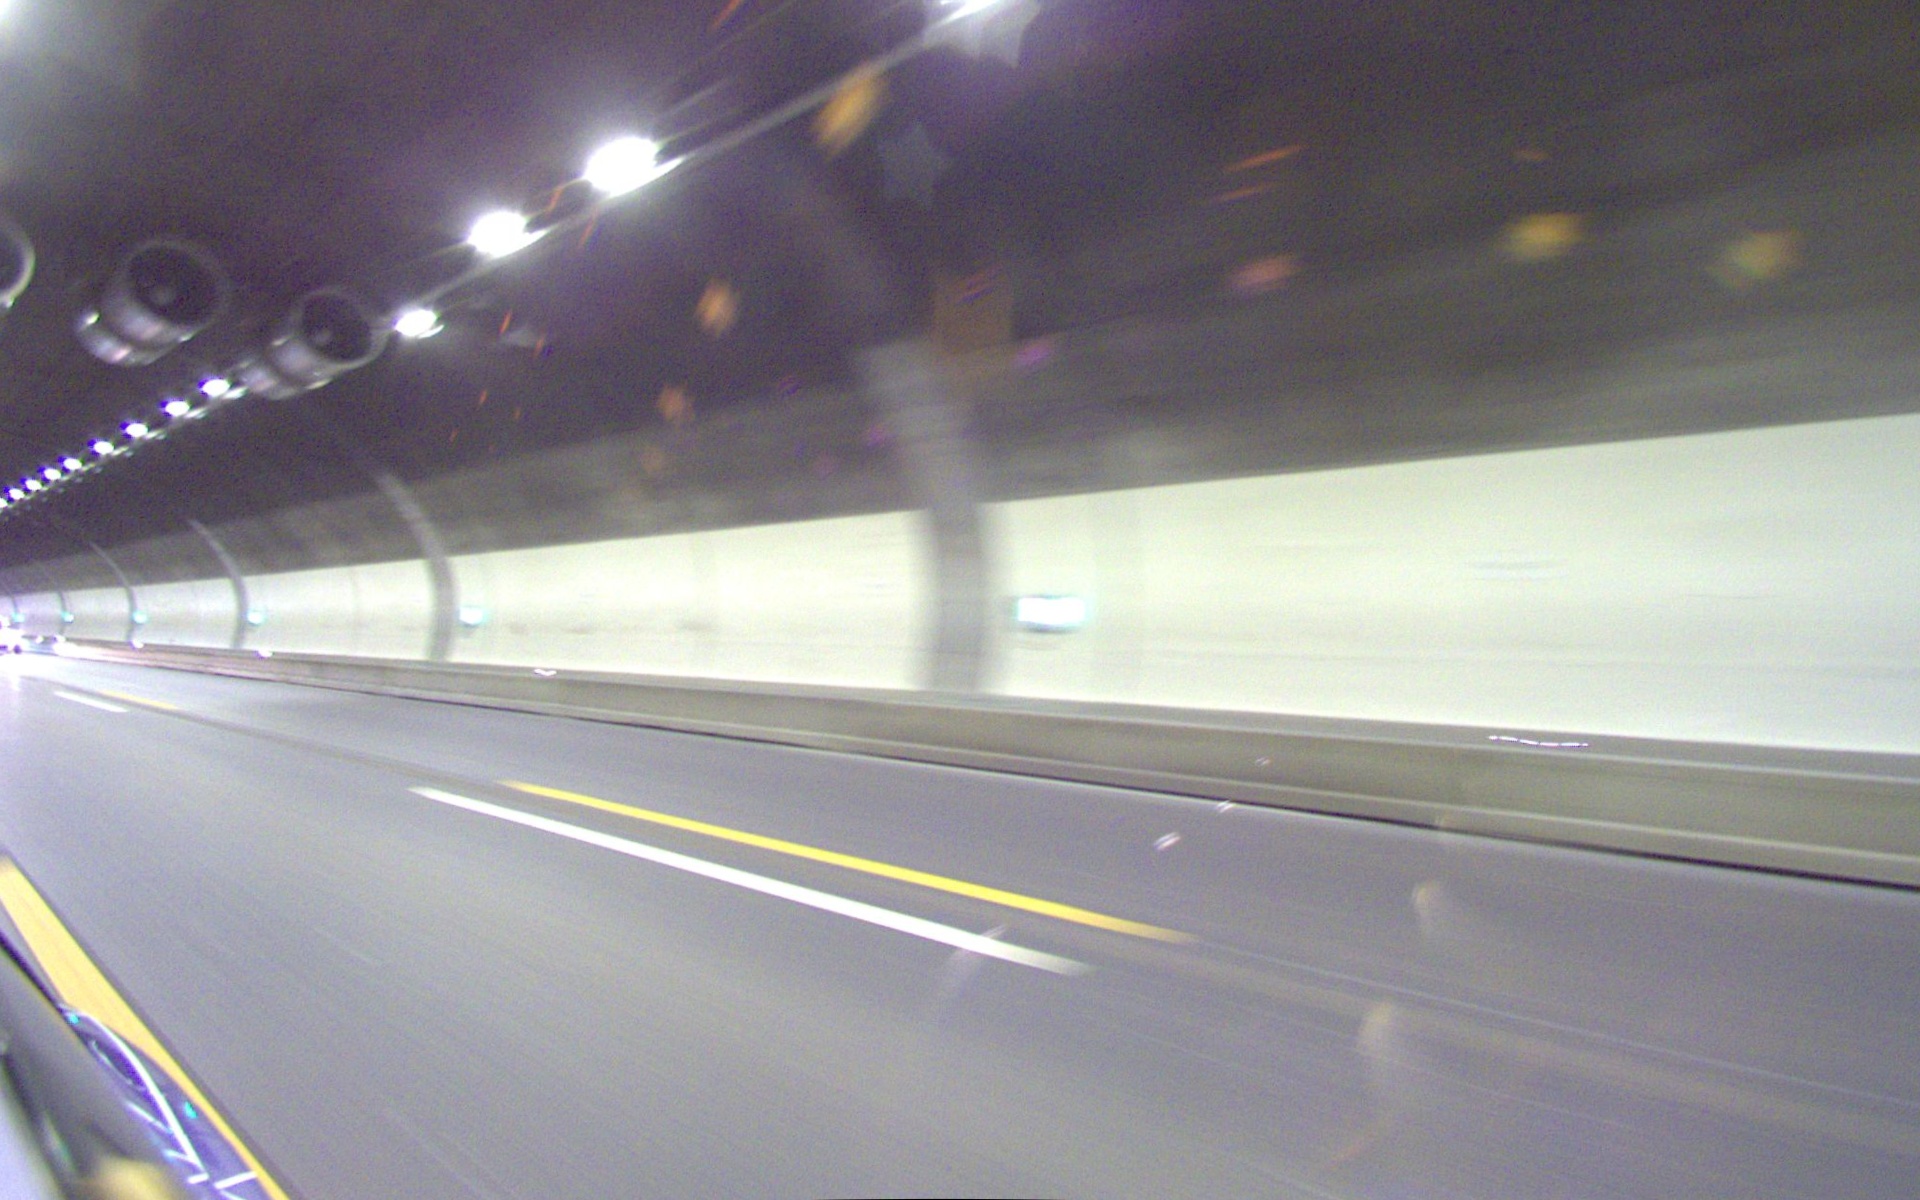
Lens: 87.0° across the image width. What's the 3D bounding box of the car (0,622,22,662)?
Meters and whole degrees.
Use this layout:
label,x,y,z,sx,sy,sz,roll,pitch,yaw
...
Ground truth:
label,x,y,z,sx,sy,sz,roll,pitch,yaw
car,-40.055,1.697,41.559,4.095,1.584,1.744,-1,-3,41
